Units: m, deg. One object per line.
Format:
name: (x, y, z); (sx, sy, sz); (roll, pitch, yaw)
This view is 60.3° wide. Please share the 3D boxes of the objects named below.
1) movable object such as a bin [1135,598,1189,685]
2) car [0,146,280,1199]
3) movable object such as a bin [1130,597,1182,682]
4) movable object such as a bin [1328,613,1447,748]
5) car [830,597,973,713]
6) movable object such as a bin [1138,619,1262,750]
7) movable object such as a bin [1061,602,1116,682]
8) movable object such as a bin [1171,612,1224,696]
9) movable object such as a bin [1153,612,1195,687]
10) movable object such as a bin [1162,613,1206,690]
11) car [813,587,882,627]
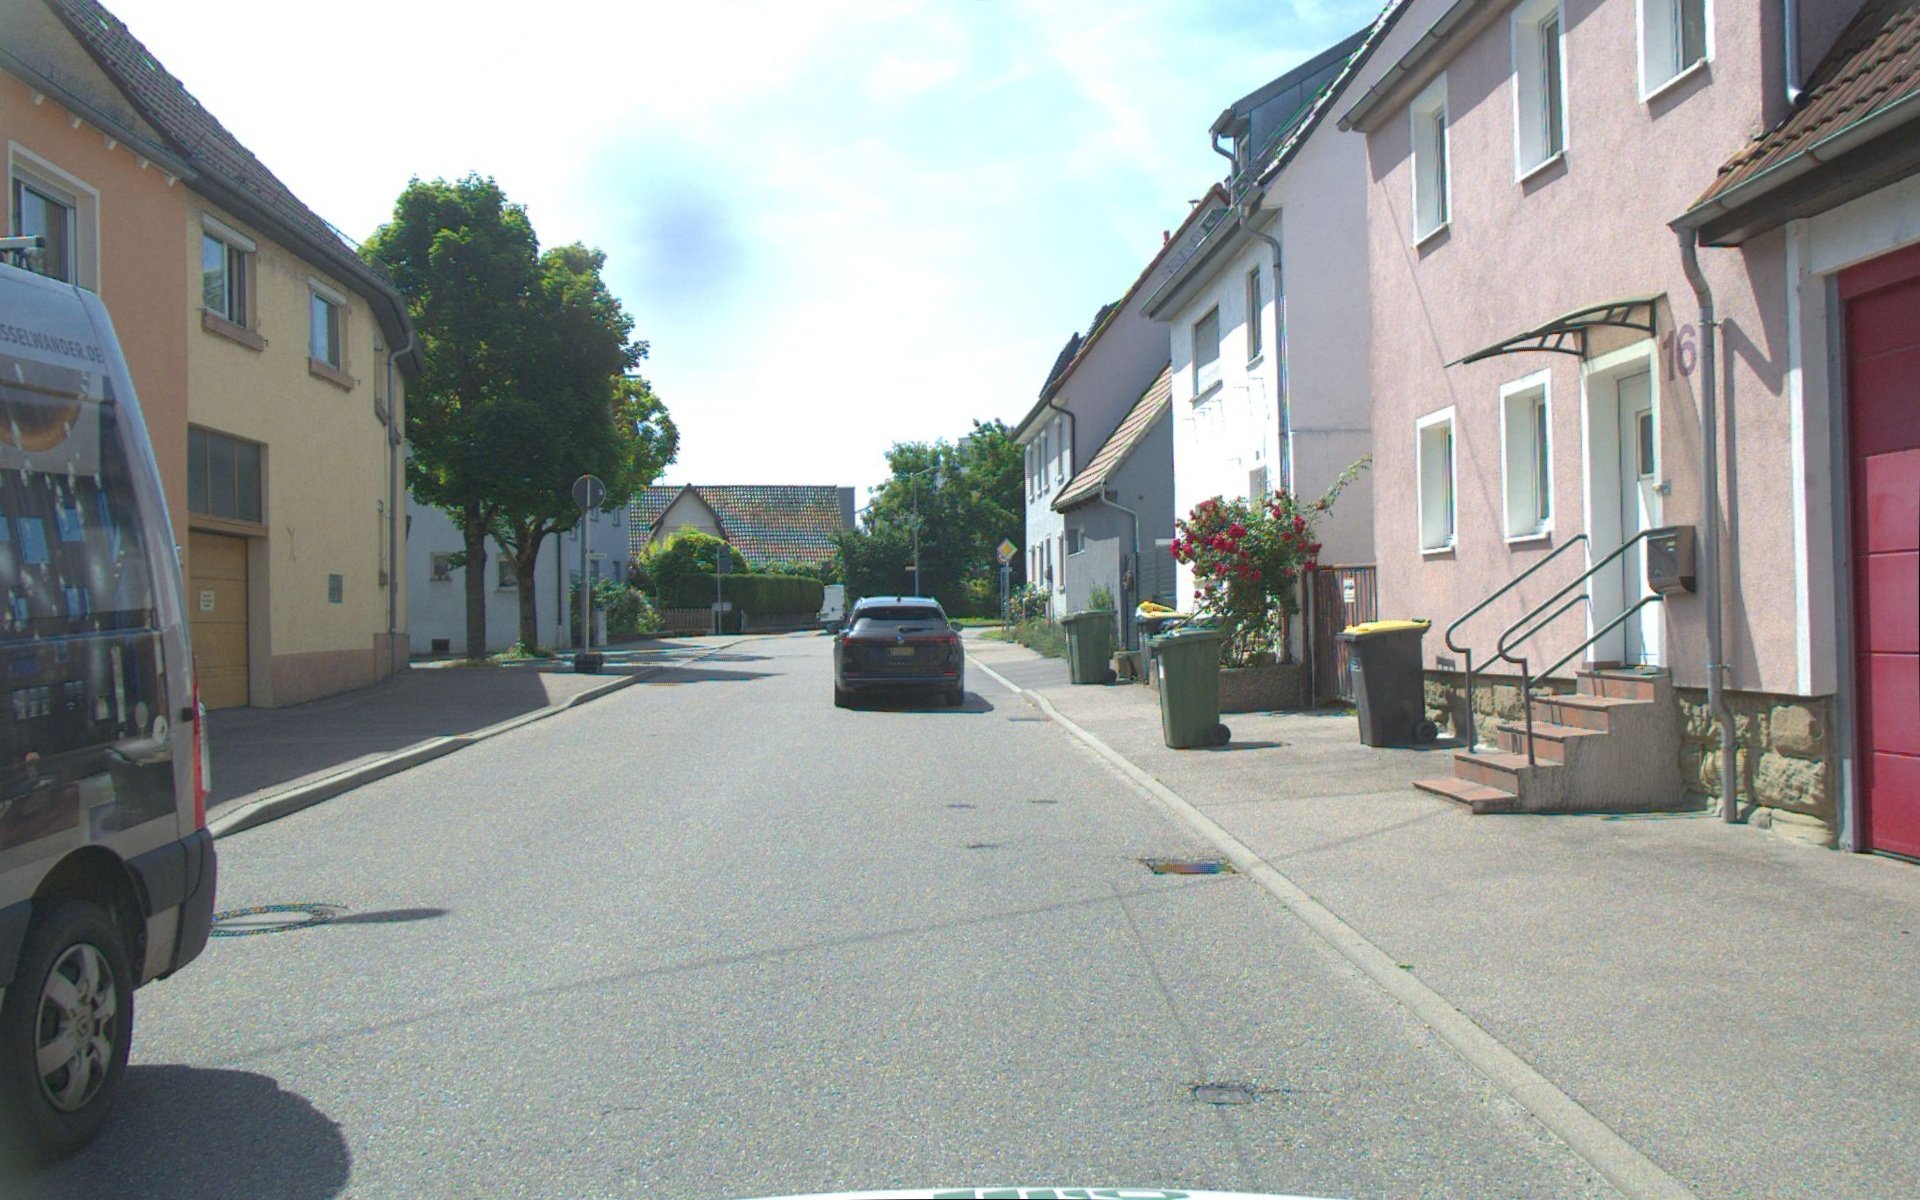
movable object such as a bin: (2.879, 0.582, 23.608); (0.651, 1.215, 0.587); (-1, 0, -3)
car: (-3.297, 0.236, 2.679); (2.072, 2.607, 5.825); (-2, 0, -2)
movable object such as a bin: (2.875, 0.573, 24.312); (0.651, 1.215, 0.660); (-1, 0, -3)
movable object such as a bin: (3.698, 0.683, 14.368); (0.665, 1.068, 0.834); (-5, 1, -7)
car: (-0.829, 0.686, 23.305); (1.804, 1.445, 4.680); (0, 0, -2)
movable object such as a bin: (2.232, 0.772, 15.474); (0.859, 1.093, 0.871); (-5, 1, -7)
movable object such as a bin: (1.910, 0.615, 24.653); (0.665, 1.175, 0.819); (0, 0, -7)
movable object such as a bin: (3.069, 0.694, 21.406); (0.580, 1.058, 0.530); (-1, 0, -3)
movable object such as a bin: (2.985, 0.683, 23.069); (0.493, 1.011, 0.441); (-1, 0, -3)
movable object such as a bin: (3.018, 0.690, 22.279); (0.493, 1.011, 0.441); (-1, 0, -3)
car: (-6.102, 0.349, 90.144); (2.083, 2.049, 4.941); (-1, 0, 17)
